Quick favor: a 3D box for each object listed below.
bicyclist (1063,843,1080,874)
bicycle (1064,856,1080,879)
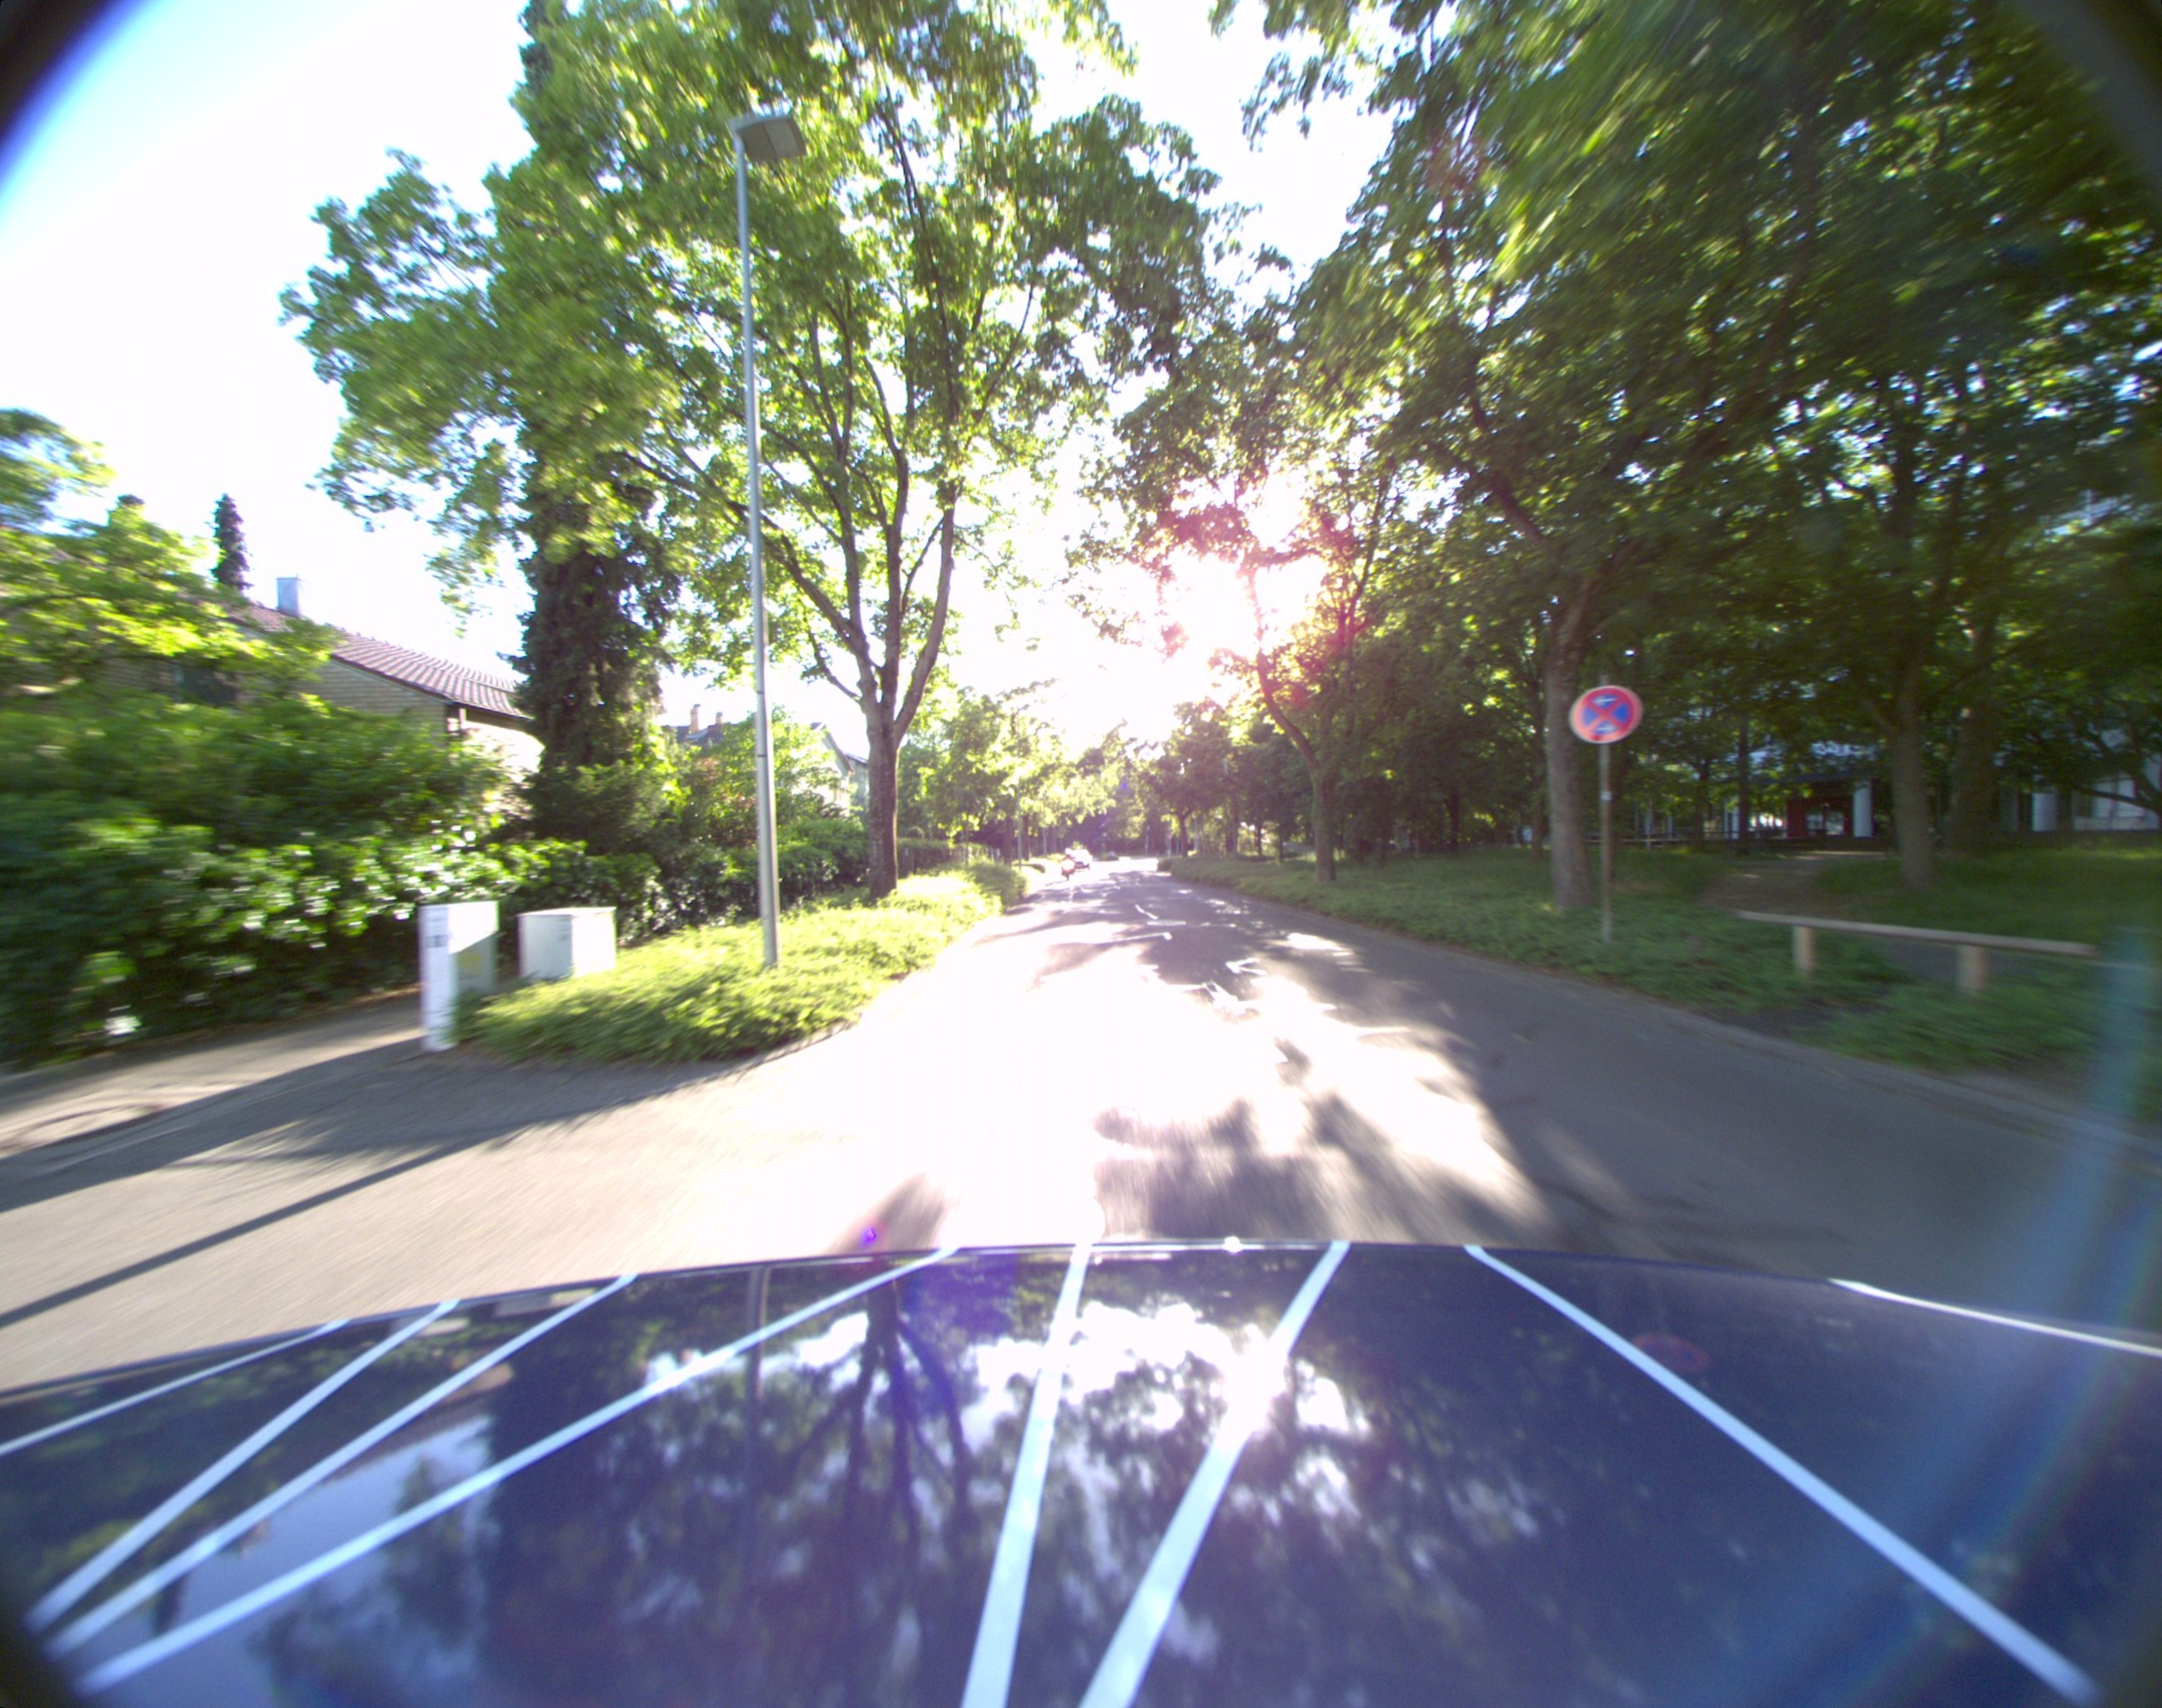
[{"bbox_3d":[-0.516,0.250,41.709,0.819,1.635,0.744,-3,1,-1],"label":"bicyclist"},{"bbox_3d":[-0.491,0.734,41.771,0.829,1.182,2.302,-2,1,0],"label":"bicycle"}]
